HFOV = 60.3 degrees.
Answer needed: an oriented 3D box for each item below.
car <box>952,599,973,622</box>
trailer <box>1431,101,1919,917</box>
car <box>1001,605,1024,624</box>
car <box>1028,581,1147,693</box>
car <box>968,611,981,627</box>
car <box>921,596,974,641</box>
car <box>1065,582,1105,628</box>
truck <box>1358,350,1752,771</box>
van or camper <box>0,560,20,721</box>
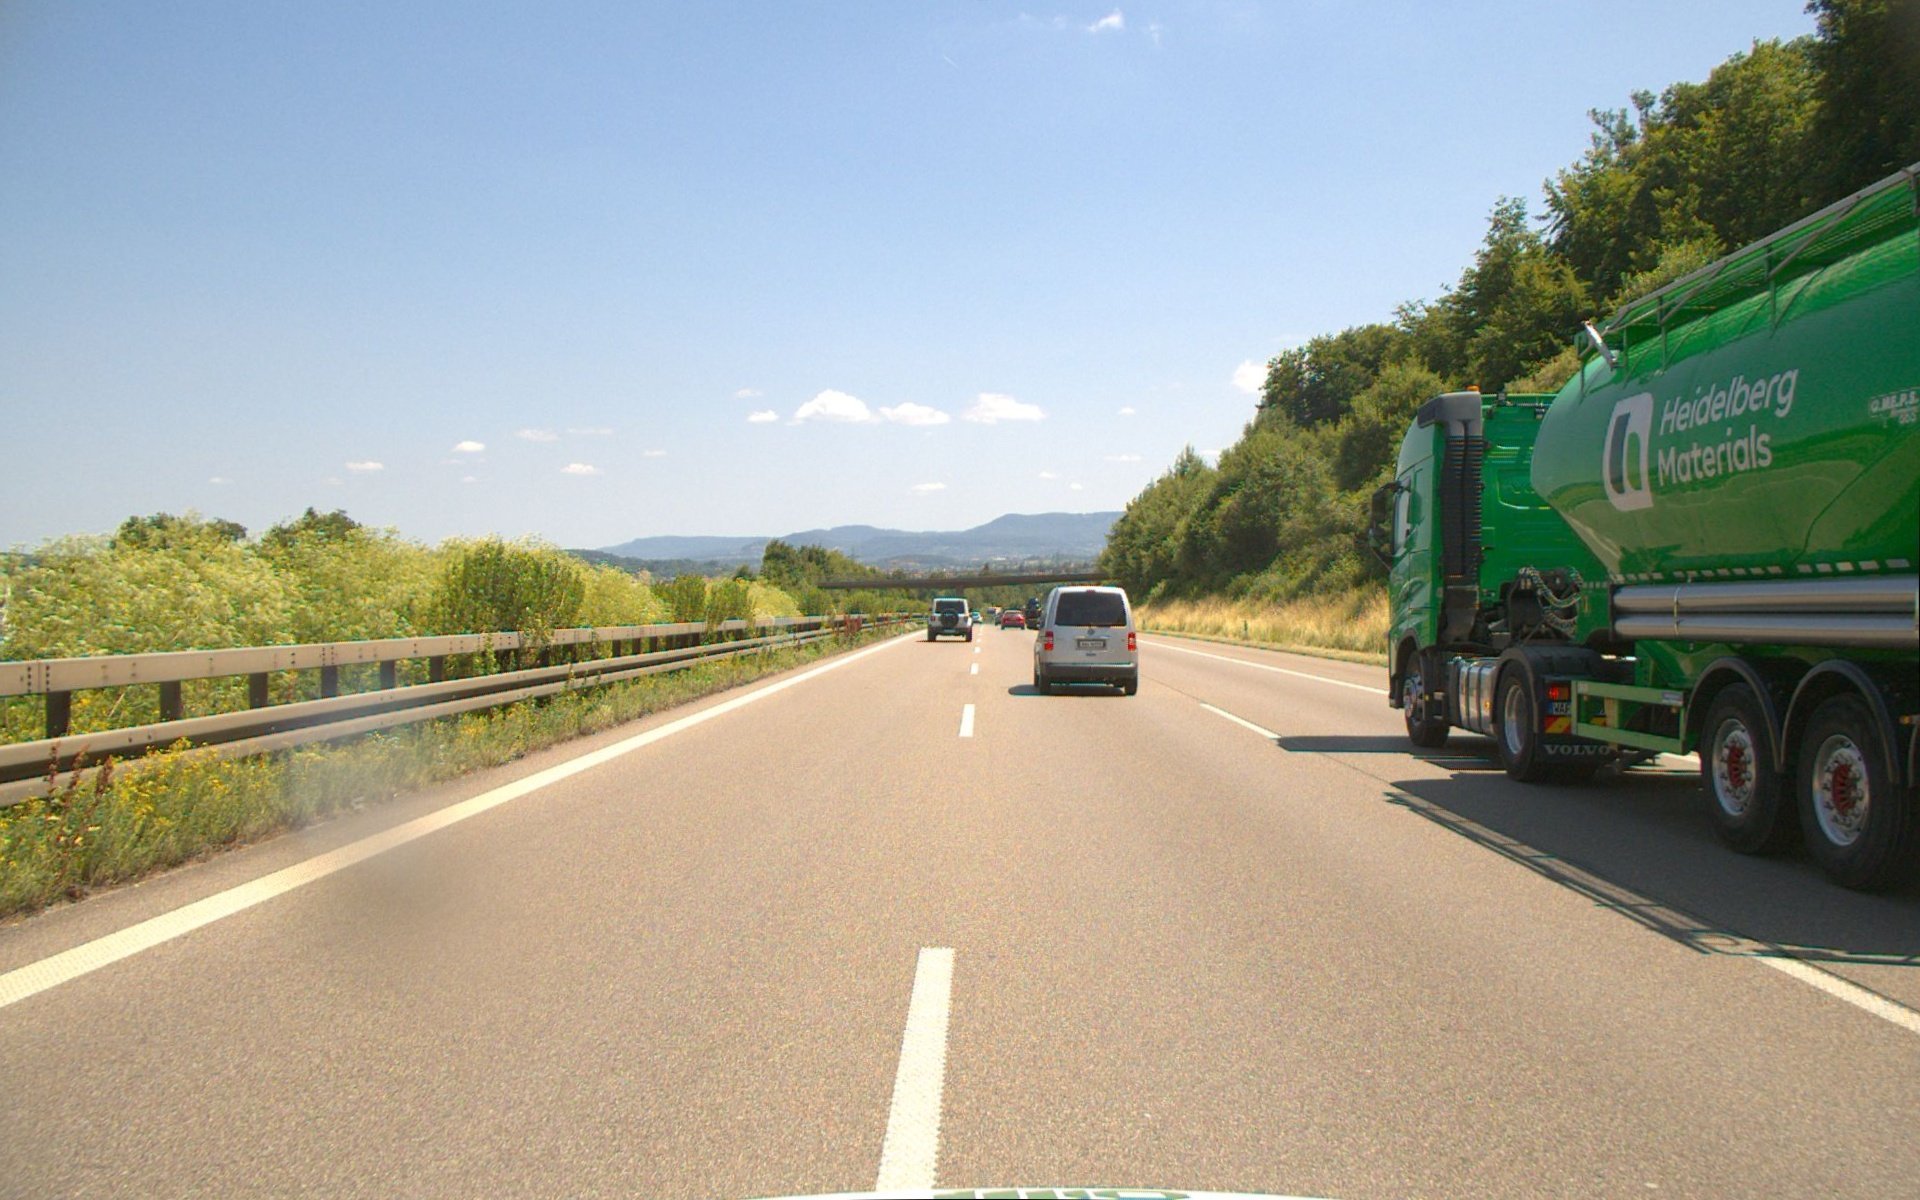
[{"bbox_3d":[0.270,0.985,156.346,1.952,2.049,4.000,1,0,1],"label":"car"},{"bbox_3d":[6.140,-0.470,12.092,2.534,4.098,10.471,1,0,1],"label":"trailer"},{"bbox_3d":[3.975,1.088,125.108,1.651,1.403,3.949,1,0,1],"label":"car"},{"bbox_3d":[2.240,0.609,30.192,1.710,1.861,4.800,1,0,-1],"label":"car"},{"bbox_3d":[1.985,2.535,221.638,1.663,2.049,3.823,1,0,1],"label":"car"},{"bbox_3d":[-0.507,0.764,72.529,2.040,1.861,4.755,1,0,2],"label":"car"},{"bbox_3d":[7.375,0.277,98.140,2.046,2.621,6.623,1,0,2],"label":"car"},{"bbox_3d":[6.167,-0.380,17.937,2.458,3.909,4.892,1,0,-1],"label":"truck"},{"bbox_3d":[-18.568,0.741,26.810,2.273,2.916,7.692,1,0,0],"label":"van or camper"}]
